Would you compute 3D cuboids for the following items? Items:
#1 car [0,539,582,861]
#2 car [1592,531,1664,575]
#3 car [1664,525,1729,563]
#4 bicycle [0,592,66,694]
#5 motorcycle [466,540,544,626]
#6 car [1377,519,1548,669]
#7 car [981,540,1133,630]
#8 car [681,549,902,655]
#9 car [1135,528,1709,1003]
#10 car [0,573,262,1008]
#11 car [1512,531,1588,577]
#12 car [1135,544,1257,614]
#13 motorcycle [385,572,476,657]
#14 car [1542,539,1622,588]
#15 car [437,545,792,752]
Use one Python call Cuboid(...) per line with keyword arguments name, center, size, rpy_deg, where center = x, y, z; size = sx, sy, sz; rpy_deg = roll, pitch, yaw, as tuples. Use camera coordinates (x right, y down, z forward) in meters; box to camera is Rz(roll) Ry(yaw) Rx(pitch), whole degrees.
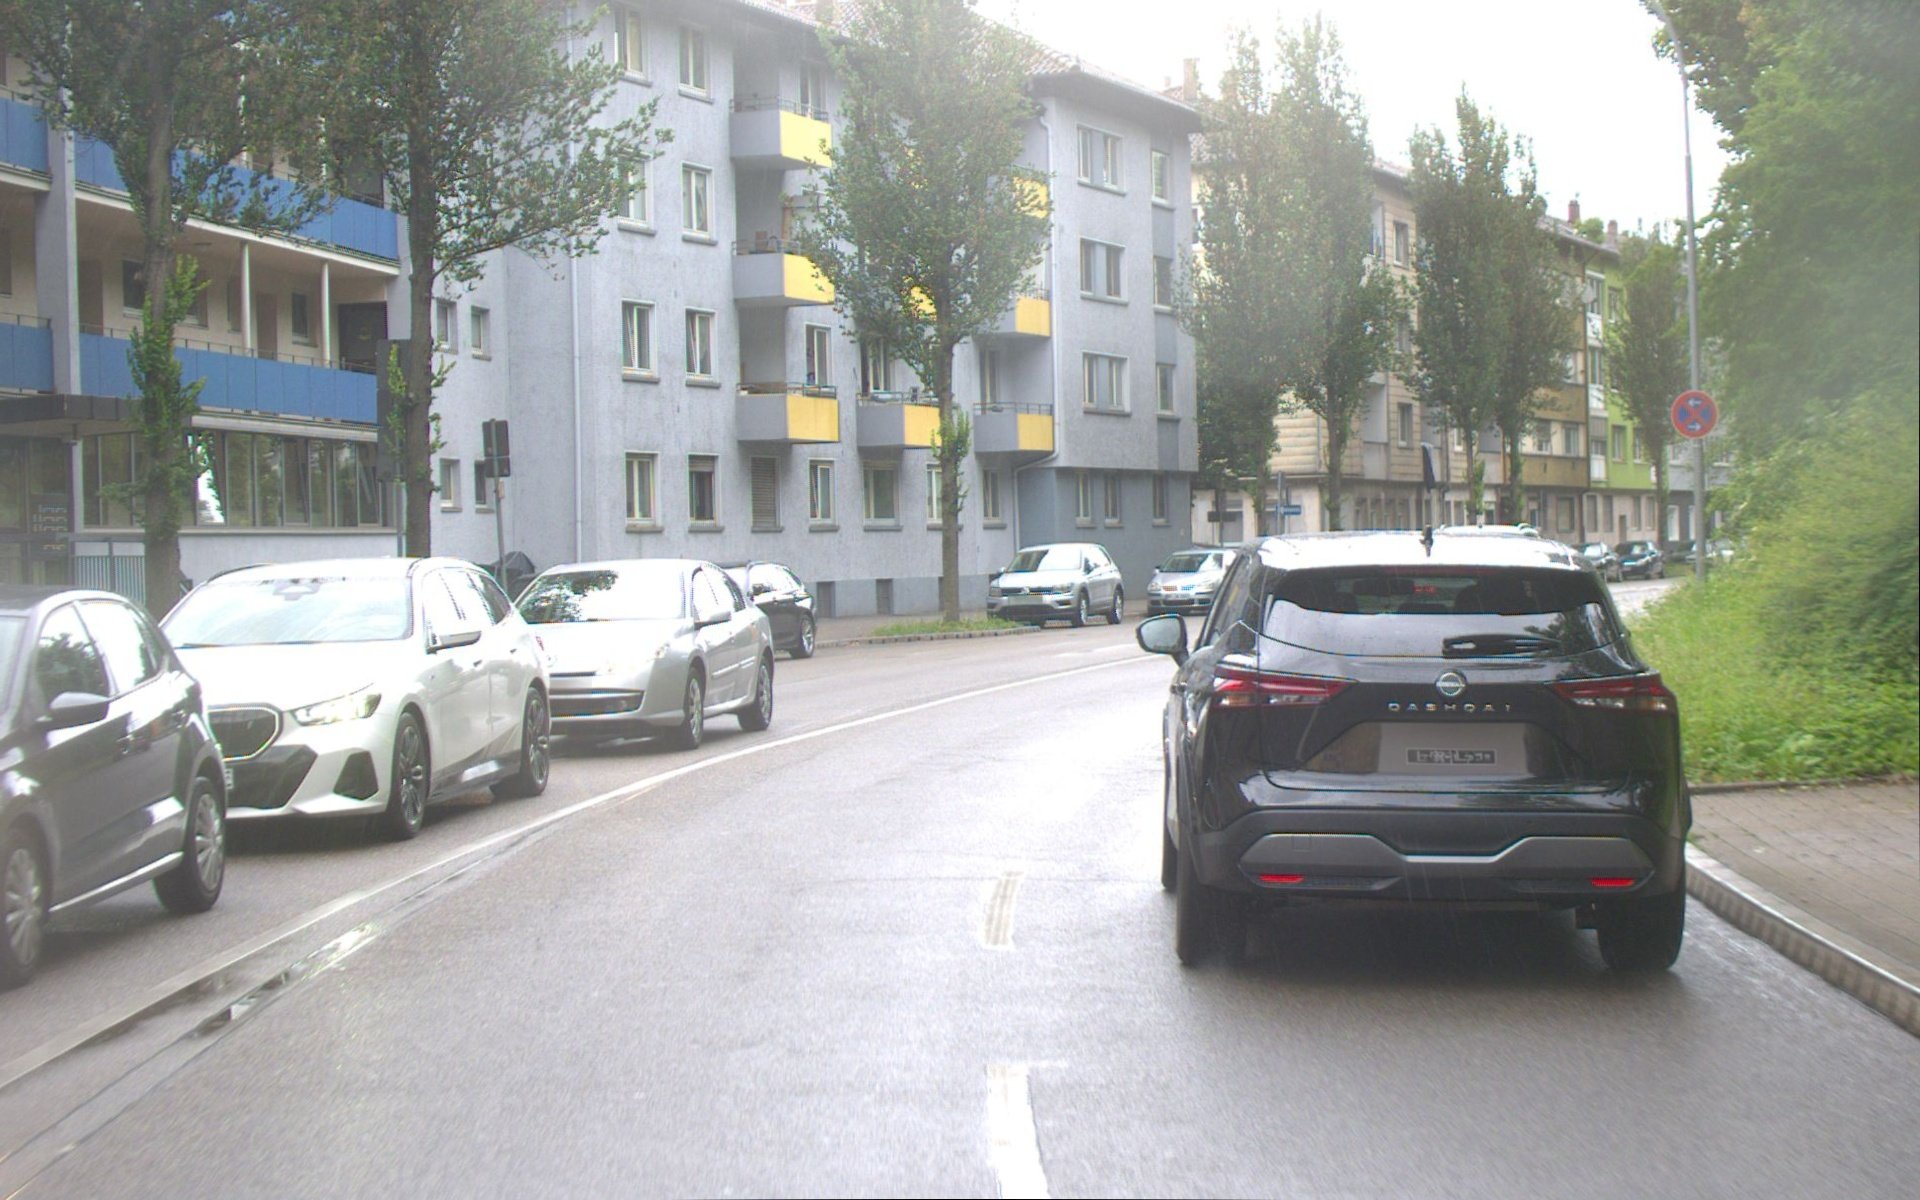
Cuboid(name="car", center=(-3.620, 0.459, 19.651), size=(1.820, 1.511, 5.027), rpy_deg=(-3, 1, 6))
Cuboid(name="car", center=(24.999, -1.774, 128.556), size=(1.720, 1.483, 4.510), rpy_deg=(-3, 1, 22))
Cuboid(name="car", center=(29.852, -2.281, 139.280), size=(1.819, 1.368, 4.675), rpy_deg=(-3, 1, 21))
Cuboid(name="bicycle", center=(-9.941, 0.446, 36.165), size=(0.612, 1.020, 1.734), rpy_deg=(-2, 1, -1))
Cuboid(name="motorcycle", center=(-7.659, -0.298, 57.938), size=(0.675, 1.409, 2.235), rpy_deg=(1, 1, 9))
Cuboid(name="car", center=(6.155, -0.108, 41.813), size=(1.888, 1.705, 3.998), rpy_deg=(-1, 1, 10))
Cuboid(name="car", center=(1.923, -0.311, 66.638), size=(1.765, 1.598, 4.530), rpy_deg=(-2, 1, 17))
Cuboid(name="car", center=(-2.508, -0.002, 52.594), size=(1.822, 1.434, 4.889), rpy_deg=(-3, 0, 16))
Cuboid(name="car", center=(1.666, 0.523, 13.637), size=(1.845, 1.577, 4.000), rpy_deg=(0, 2, 2))
Cuboid(name="car", center=(-4.058, 0.675, 13.396), size=(1.680, 1.442, 3.820), rpy_deg=(-3, 1, 3))
Cuboid(name="car", center=(19.570, -1.537, 113.911), size=(1.627, 1.382, 3.984), rpy_deg=(-2, 1, 22))
Cuboid(name="car", center=(5.312, -0.489, 76.992), size=(1.725, 1.448, 4.202), rpy_deg=(-2, 1, 18))
Cuboid(name="motorcycle", center=(-8.257, 0.214, 53.677), size=(0.675, 1.249, 2.235), rpy_deg=(1, 1, 11))
Cuboid(name="car", center=(21.515, -1.274, 118.781), size=(1.819, 1.483, 4.785), rpy_deg=(-3, 1, 21))
Cuboid(name="car", center=(-2.611, 0.319, 27.061), size=(1.753, 1.420, 4.536), rpy_deg=(-2, 1, 7))
